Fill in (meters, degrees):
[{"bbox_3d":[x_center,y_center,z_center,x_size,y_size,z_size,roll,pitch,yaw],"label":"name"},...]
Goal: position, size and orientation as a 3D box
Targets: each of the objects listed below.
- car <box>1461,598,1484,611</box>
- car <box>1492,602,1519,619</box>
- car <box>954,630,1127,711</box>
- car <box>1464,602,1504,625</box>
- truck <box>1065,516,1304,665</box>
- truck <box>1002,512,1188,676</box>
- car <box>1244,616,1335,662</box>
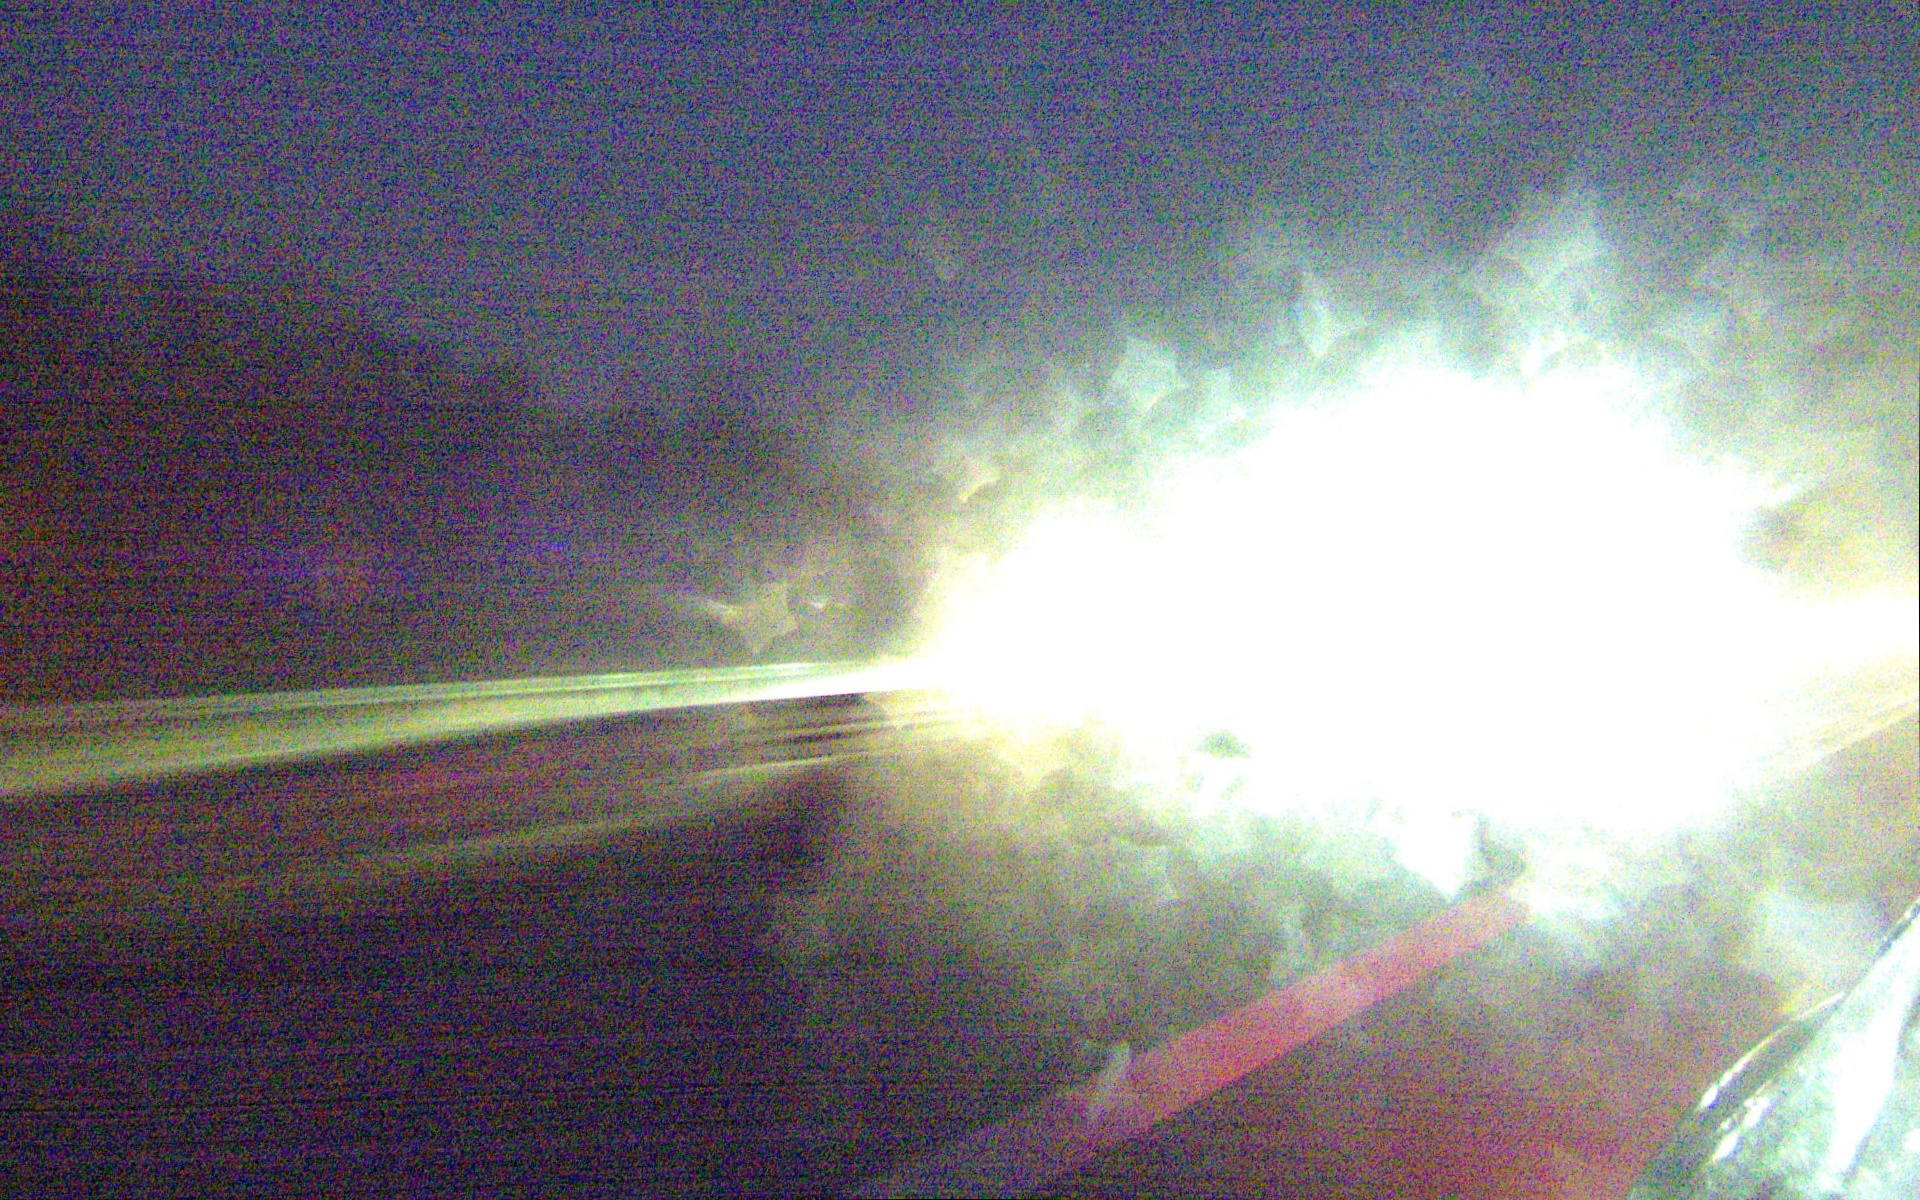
[{"bbox_3d":[57.507,0.500,113.576,1.703,1.310,3.939,3,1,36],"label":"car"},{"bbox_3d":[46.060,0.888,85.429,1.701,1.310,3.943,3,1,33],"label":"car"},{"bbox_3d":[1.709,1.321,20.193,1.701,1.310,3.941,3,1,34],"label":"car"},{"bbox_3d":[32.841,0.831,63.411,1.702,1.310,3.940,3,1,35],"label":"car"},{"bbox_3d":[8.374,-0.578,35.347,2.752,4.273,13.648,3,4,37],"label":"truck"},{"bbox_3d":[4.074,-0.317,29.538,2.752,4.273,6.115,3,3,36],"label":"truck"},{"bbox_3d":[10.743,1.216,32.849,1.702,1.310,3.940,3,1,35],"label":"car"}]
